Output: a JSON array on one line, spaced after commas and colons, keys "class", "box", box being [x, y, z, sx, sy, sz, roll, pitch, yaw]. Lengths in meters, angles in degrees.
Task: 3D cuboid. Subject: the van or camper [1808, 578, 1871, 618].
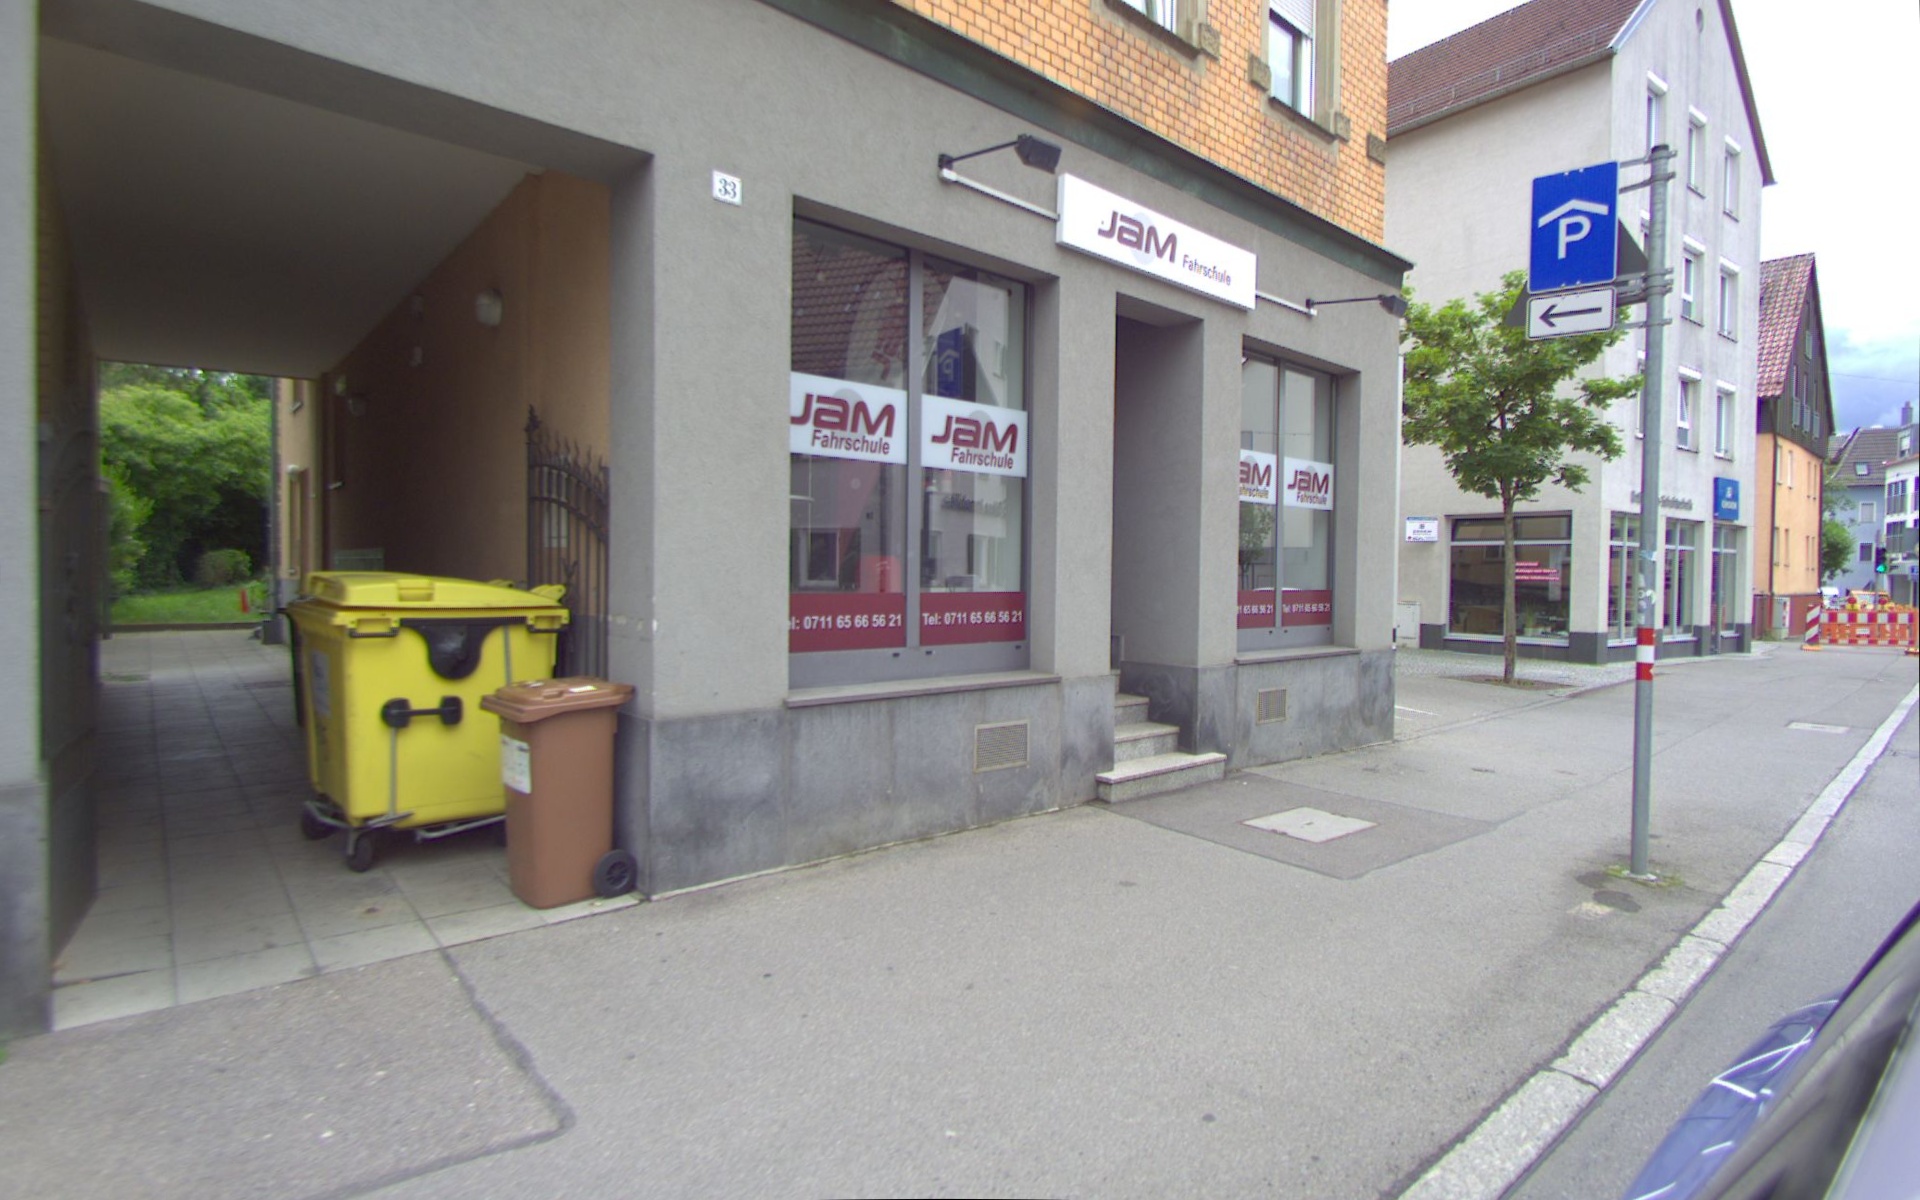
[{"class": "van or camper", "box": [62.636, -0.124, 72.183, 2.309, 2.640, 6.138, 2, 1, 31]}]

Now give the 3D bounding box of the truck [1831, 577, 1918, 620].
[{"class": "truck", "box": [58.061, -0.106, 64.402, 2.398, 2.496, 6.249, 2, 1, 26]}]

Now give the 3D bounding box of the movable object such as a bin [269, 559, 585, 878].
[{"class": "movable object such as a bin", "box": [-2.799, 0.468, 5.224, 1.138, 1.330, 1.675, 0, 1, -39]}]

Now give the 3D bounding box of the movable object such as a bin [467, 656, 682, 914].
[{"class": "movable object such as a bin", "box": [-1.684, 0.751, 4.419, 0.726, 0.945, 0.581, 0, 1, -39]}]
